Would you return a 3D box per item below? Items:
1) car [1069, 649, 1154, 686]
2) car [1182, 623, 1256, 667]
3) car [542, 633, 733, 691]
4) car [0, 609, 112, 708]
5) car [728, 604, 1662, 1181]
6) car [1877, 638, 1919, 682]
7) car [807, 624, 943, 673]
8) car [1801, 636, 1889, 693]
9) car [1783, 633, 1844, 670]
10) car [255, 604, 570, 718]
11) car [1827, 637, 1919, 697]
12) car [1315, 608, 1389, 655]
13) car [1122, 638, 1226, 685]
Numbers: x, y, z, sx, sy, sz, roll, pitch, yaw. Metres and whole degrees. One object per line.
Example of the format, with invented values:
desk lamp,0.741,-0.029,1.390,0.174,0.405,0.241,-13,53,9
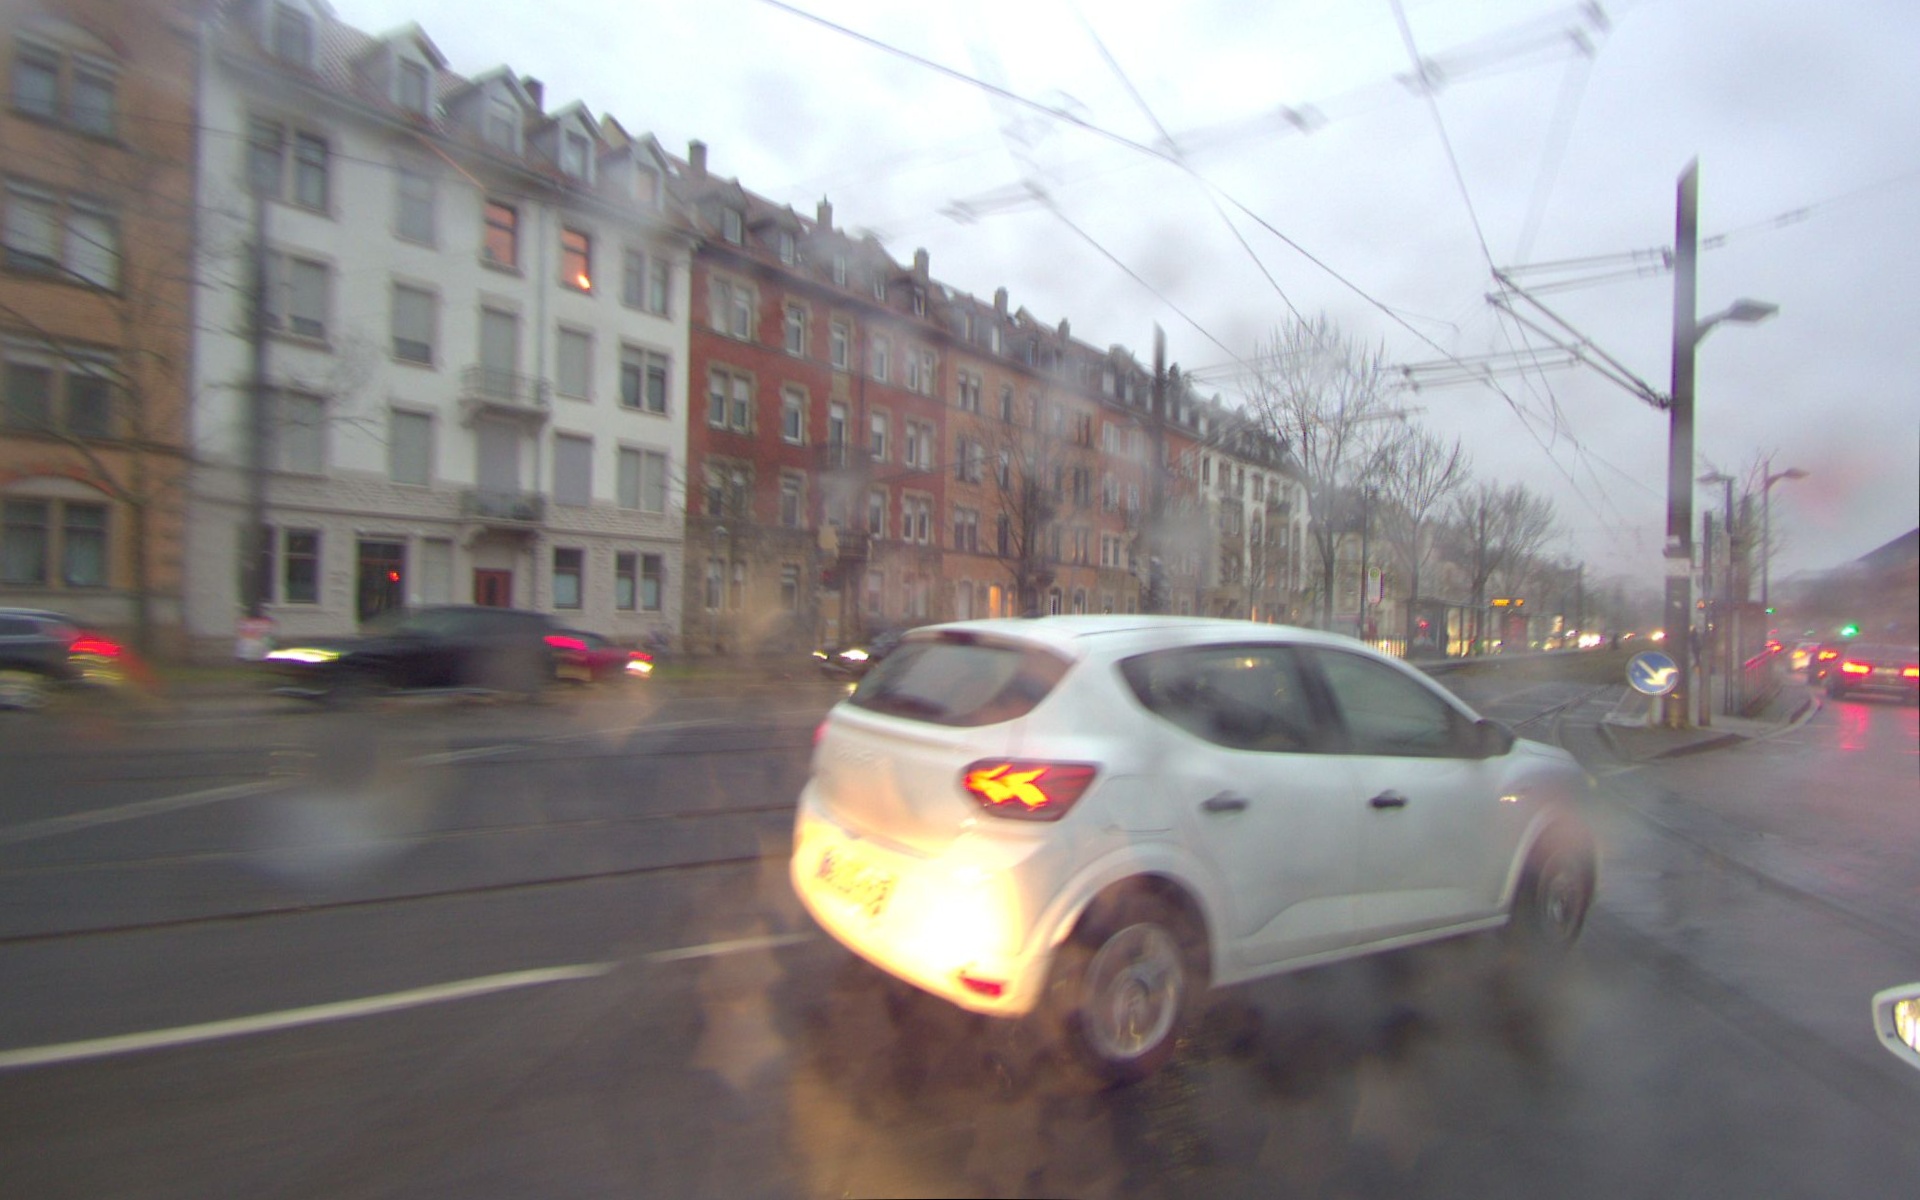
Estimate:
car,5.906,2.583,38.776,1.517,1.243,4.072,0,-1,37
car,12.248,2.092,47.389,1.969,1.966,3.927,0,-1,38
car,-7.105,1.335,22.404,1.582,1.149,3.769,0,-1,42
car,-14.762,0.800,13.973,1.662,1.372,4.363,0,-1,43
car,1.175,0.806,4.357,3.954,1.507,1.618,1,-1,-31
car,37.371,2.324,39.163,1.968,1.639,3.985,0,-1,37
car,-2.329,1.339,28.534,1.517,1.243,4.071,0,-1,37
car,30.507,2.166,34.730,1.968,1.788,3.985,0,-1,37
car,41.135,2.461,48.492,1.968,1.639,3.985,0,-1,37
car,-8.597,0.908,16.047,1.661,1.573,4.099,1,-1,42
car,24.174,1.701,26.276,1.968,1.416,3.985,0,-1,37
car,20.504,1.635,52.385,1.970,2.340,5.240,0,-1,41
car,6.500,1.807,30.218,1.517,1.262,4.073,0,-1,36
